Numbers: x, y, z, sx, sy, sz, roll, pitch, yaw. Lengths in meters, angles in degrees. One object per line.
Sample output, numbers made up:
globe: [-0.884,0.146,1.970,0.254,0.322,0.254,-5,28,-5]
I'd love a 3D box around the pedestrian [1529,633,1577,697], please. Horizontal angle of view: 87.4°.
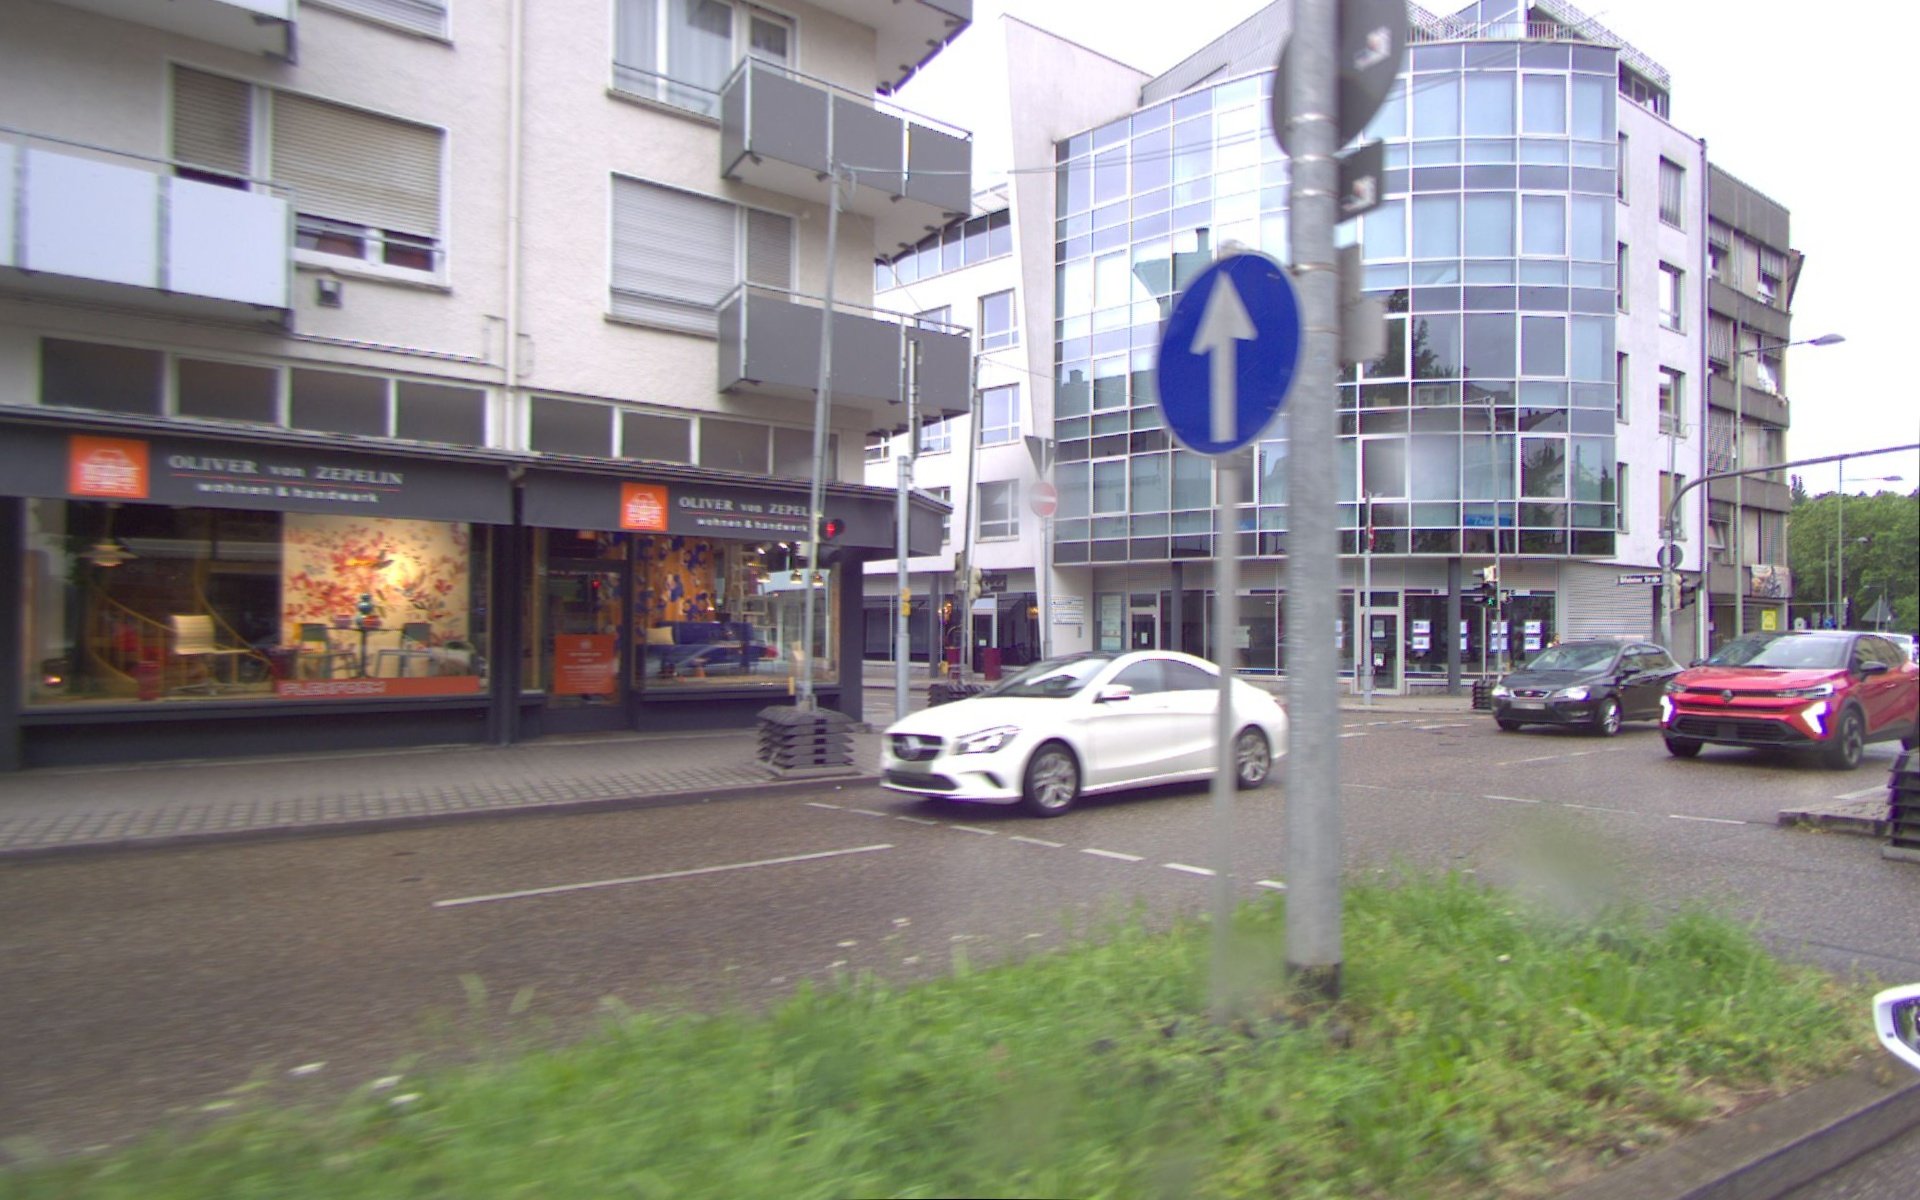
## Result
pedestrian: [15.158,1.651,25.687,0.816,1.629,0.625,0,-2,-5]

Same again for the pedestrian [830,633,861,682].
pedestrian: [-4.037,2.019,35.398,0.555,1.675,0.892,-2,1,39]

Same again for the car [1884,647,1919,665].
car: [84.898,5.051,90.186,1.906,1.546,4.129,-1,-3,29]

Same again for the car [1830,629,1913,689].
car: [34.654,2.254,38.136,2.096,2.041,5.098,2,-2,44]

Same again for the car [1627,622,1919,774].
car: [10.316,1.120,12.533,4.046,1.615,1.837,2,-3,-32]

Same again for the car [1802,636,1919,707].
car: [21.685,1.622,23.717,4.242,1.544,1.760,2,-3,-36]

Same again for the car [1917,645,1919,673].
car: [48.791,2.913,49.542,1.700,1.417,3.583,-3,-4,35]

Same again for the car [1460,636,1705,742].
car: [10.123,1.363,16.282,3.956,1.517,1.837,2,-3,-32]

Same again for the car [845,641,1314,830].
car: [1.316,1.166,9.900,4.572,1.436,1.833,1,-5,-37]
